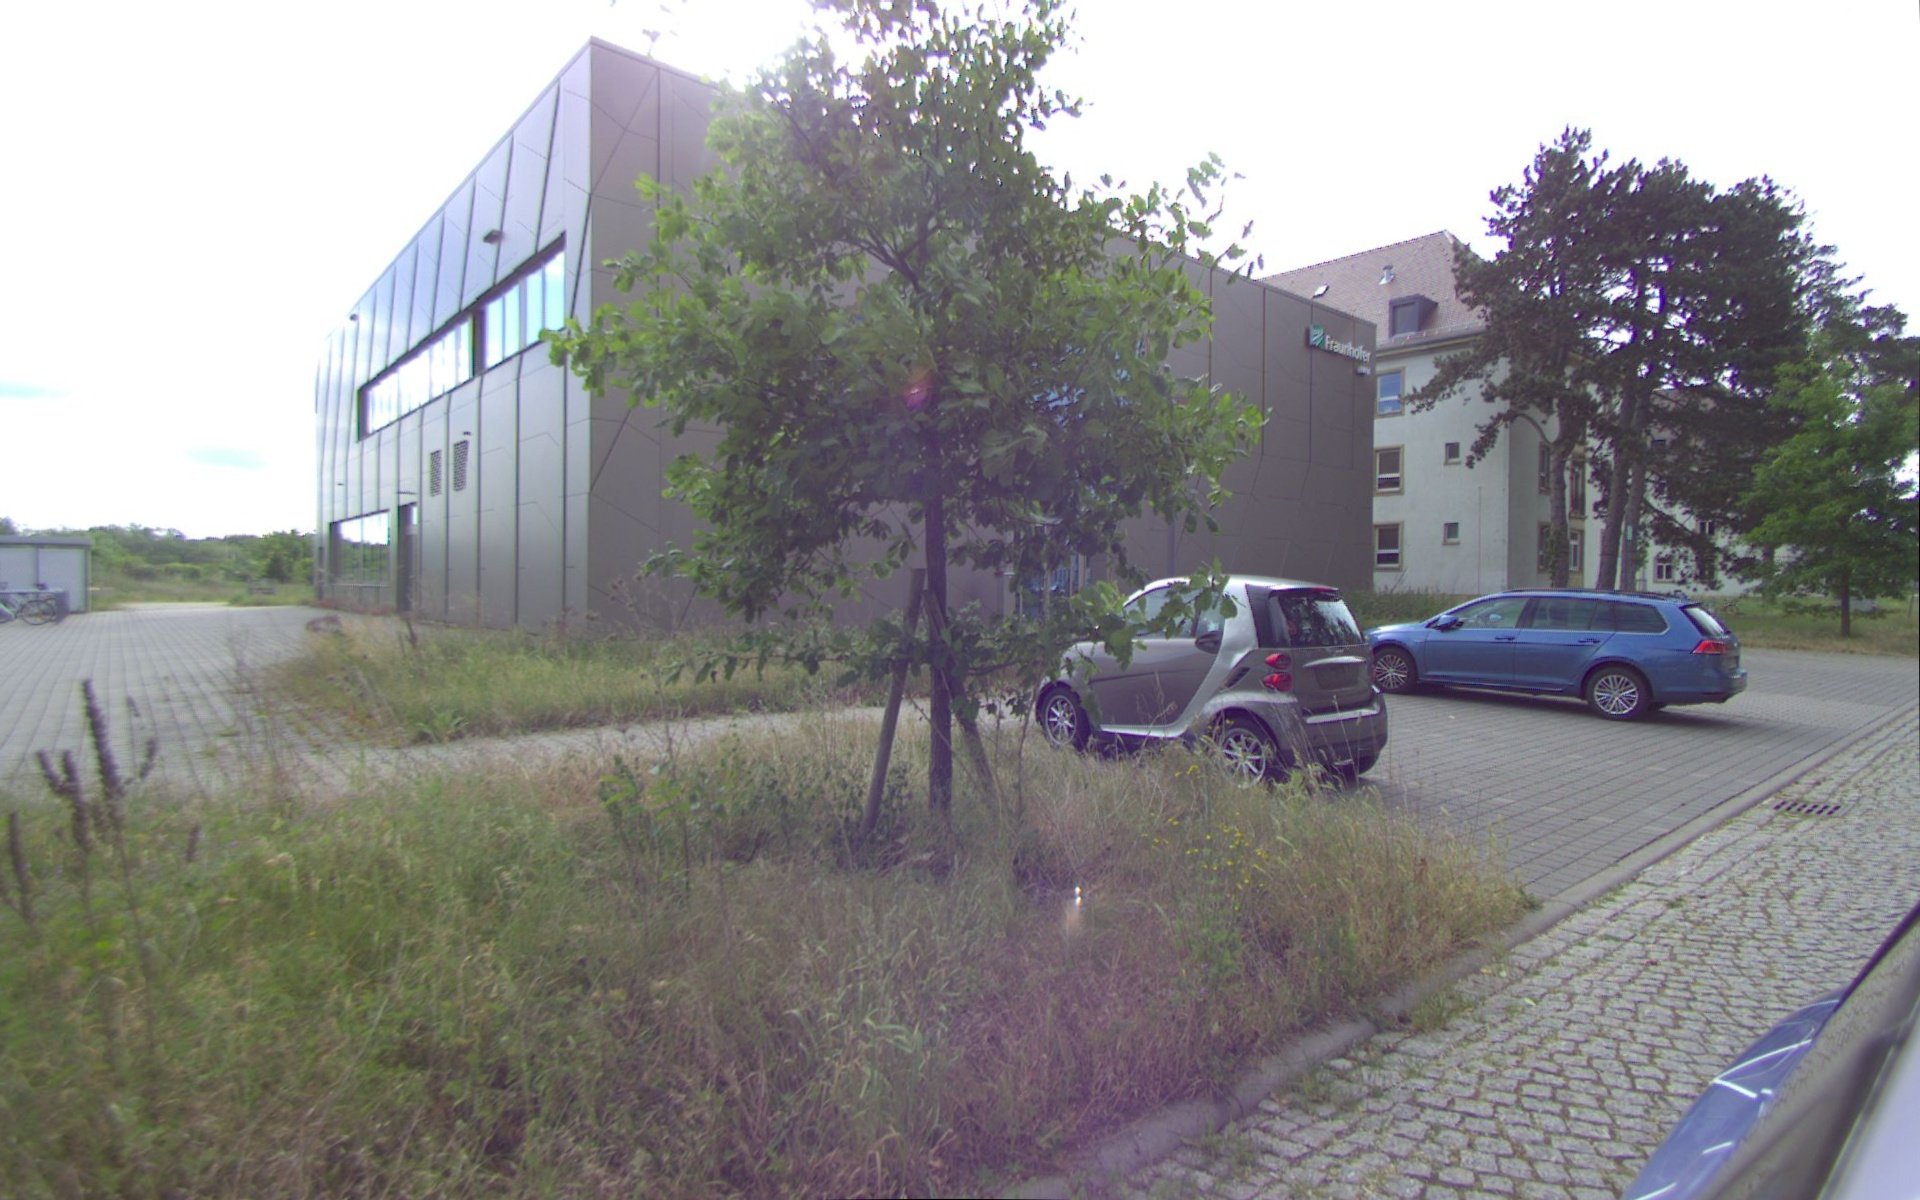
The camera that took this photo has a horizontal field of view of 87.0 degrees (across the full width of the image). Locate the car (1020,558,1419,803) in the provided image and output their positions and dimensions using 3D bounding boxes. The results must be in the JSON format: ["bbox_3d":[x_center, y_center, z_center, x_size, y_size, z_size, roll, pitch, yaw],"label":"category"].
[{"bbox_3d":[2.023,0.493,8.336,1.623,1.575,2.718,0,3,-38],"label":"car"}]

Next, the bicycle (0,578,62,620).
[{"bbox_3d":[-25.271,-0.026,27.192,1.624,1.099,0.512,0,1,-31],"label":"bicycle"}]

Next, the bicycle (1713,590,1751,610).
[{"bbox_3d":[44.315,-0.006,58.122,0.604,1.099,1.653,0,1,-43],"label":"bicycle"}]

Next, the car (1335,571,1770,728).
[{"bbox_3d":[7.429,0.470,13.076,1.800,1.493,4.498,-2,4,-43],"label":"car"}]

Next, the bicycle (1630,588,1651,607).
[{"bbox_3d":[42.179,-0.142,62.711,1.697,1.142,0.448,0,1,-33],"label":"bicycle"}]

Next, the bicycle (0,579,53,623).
[{"bbox_3d":[-23.888,0.018,25.388,1.624,1.099,0.512,0,1,-31],"label":"bicycle"}]

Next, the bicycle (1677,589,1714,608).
[{"bbox_3d":[43.115,-0.103,59.327,0.603,1.099,1.655,0,1,-38],"label":"bicycle"}]

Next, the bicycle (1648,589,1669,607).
[{"bbox_3d":[42.738,-0.127,61.912,1.670,1.142,0.477,0,1,-33],"label":"bicycle"}]

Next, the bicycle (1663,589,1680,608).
[{"bbox_3d":[43.312,-0.105,61.587,1.628,1.142,0.476,0,1,-42],"label":"bicycle"}]
